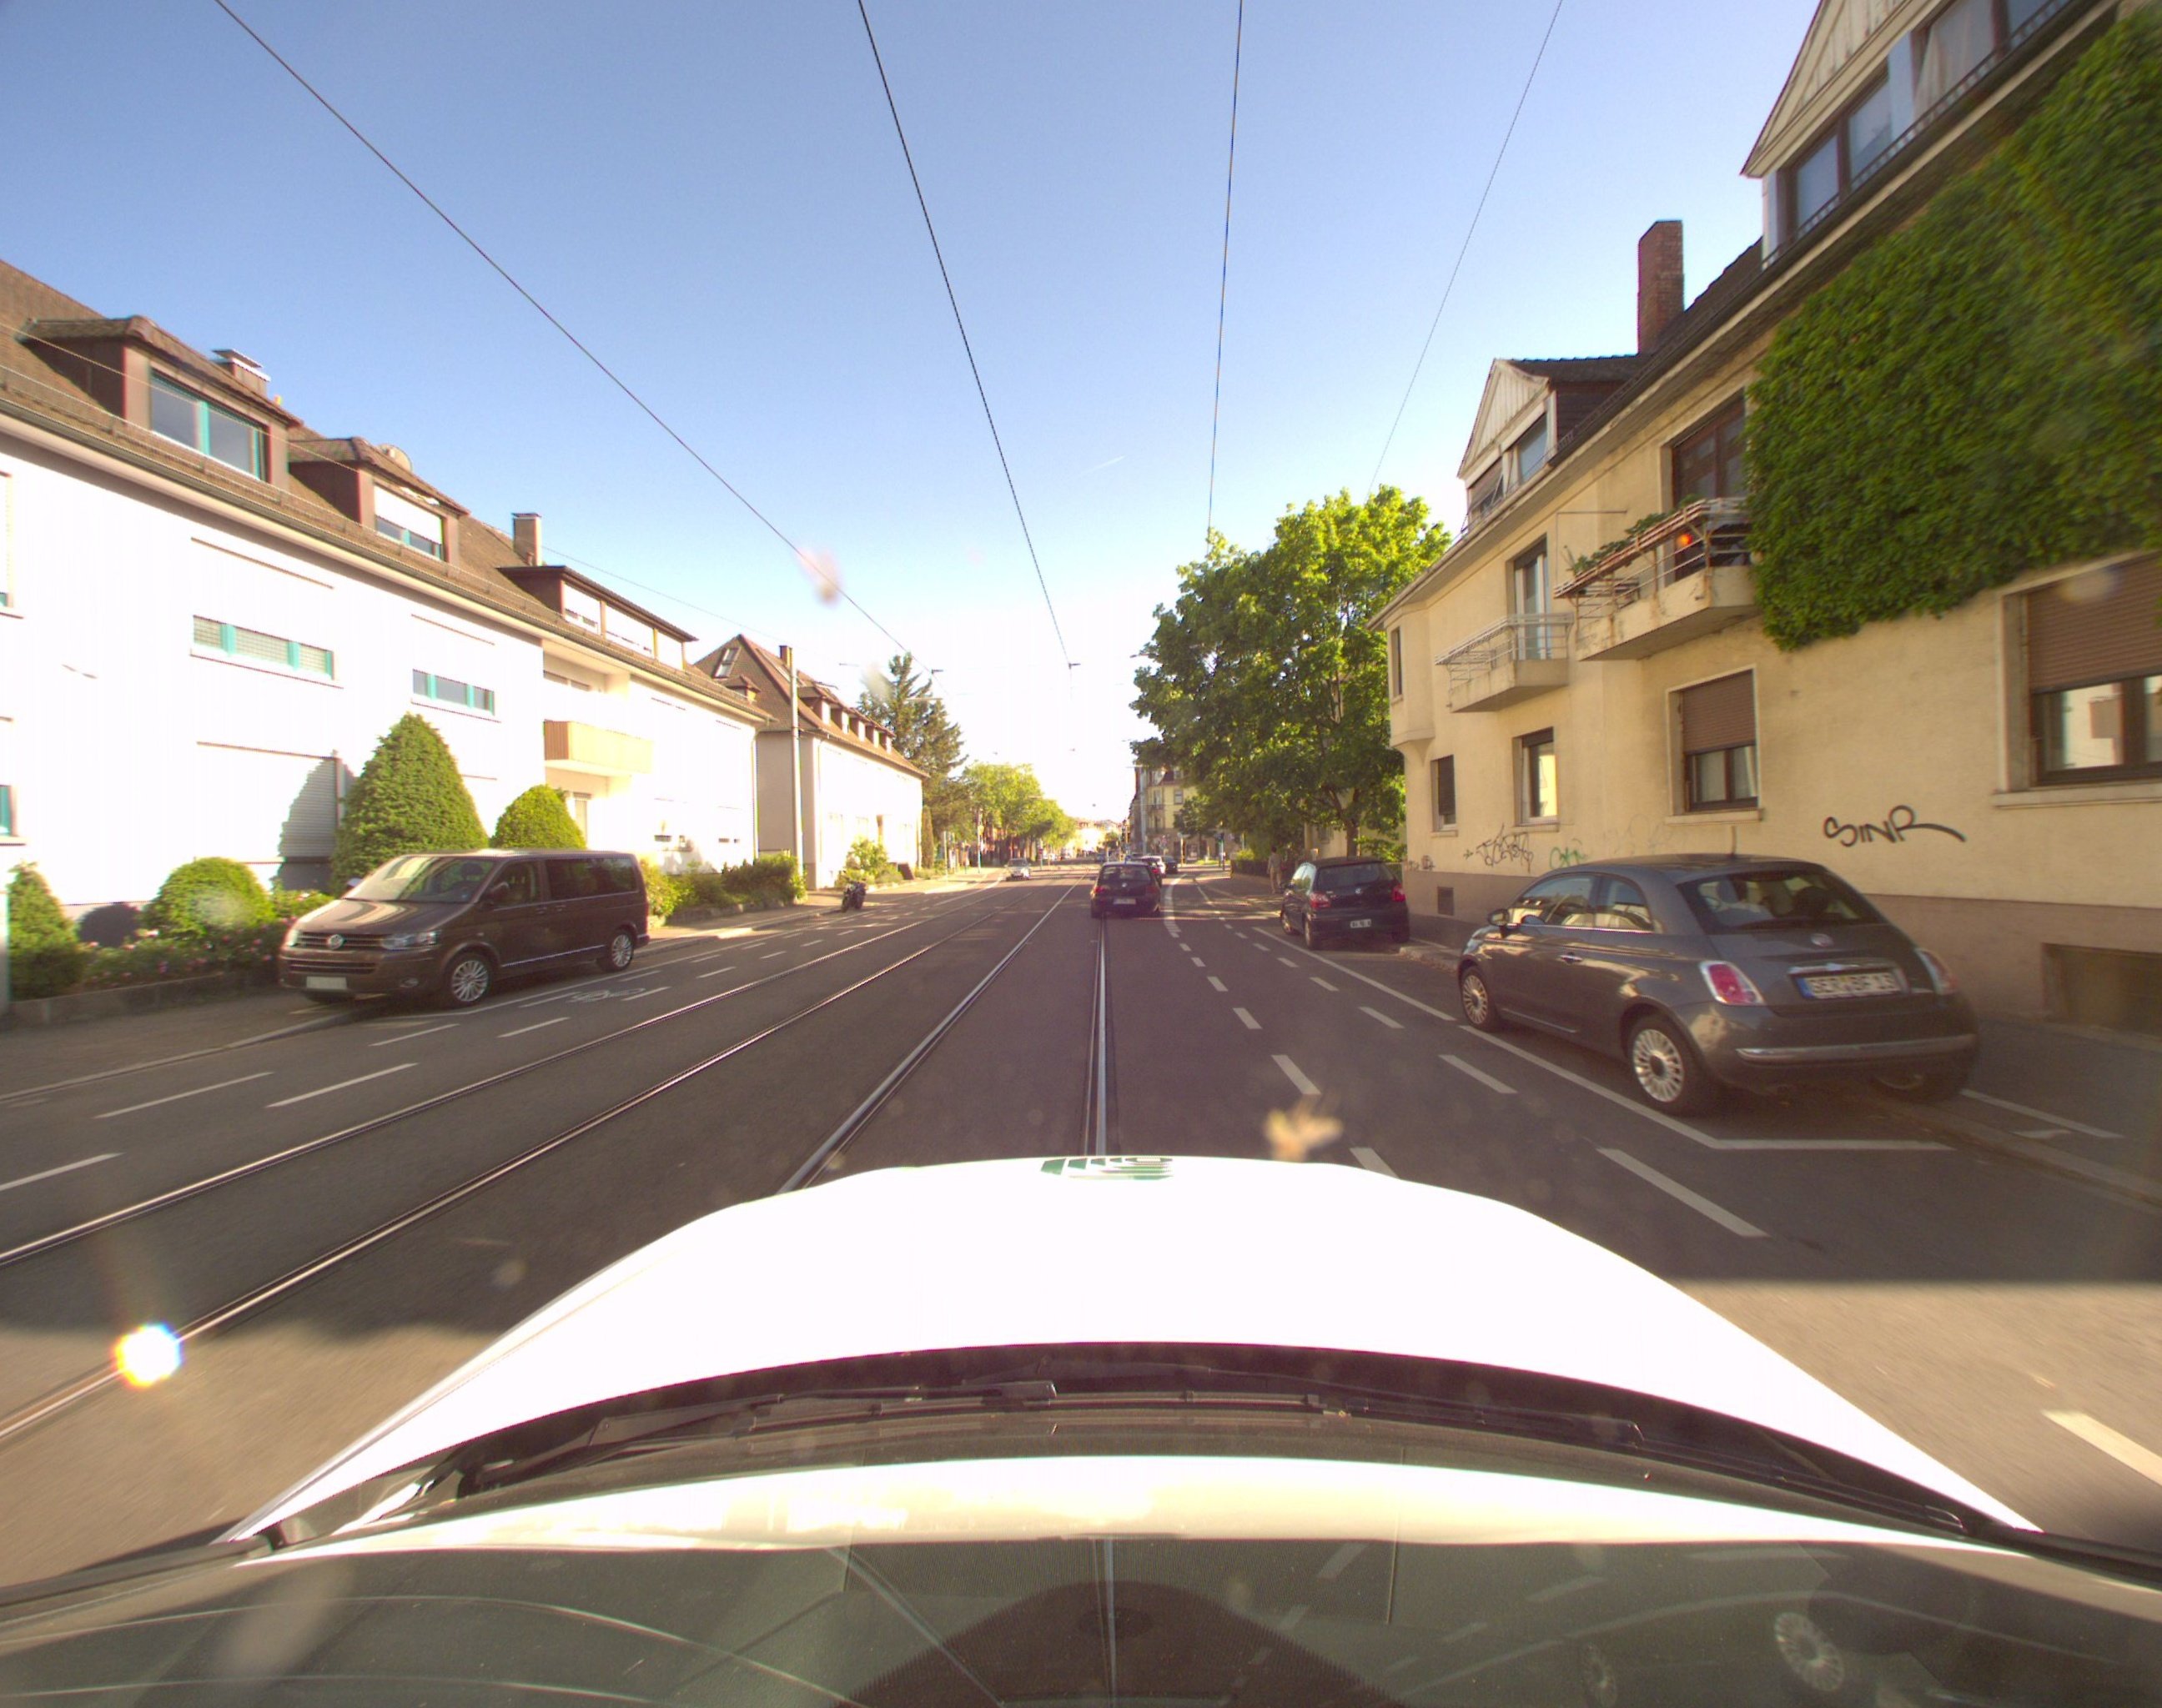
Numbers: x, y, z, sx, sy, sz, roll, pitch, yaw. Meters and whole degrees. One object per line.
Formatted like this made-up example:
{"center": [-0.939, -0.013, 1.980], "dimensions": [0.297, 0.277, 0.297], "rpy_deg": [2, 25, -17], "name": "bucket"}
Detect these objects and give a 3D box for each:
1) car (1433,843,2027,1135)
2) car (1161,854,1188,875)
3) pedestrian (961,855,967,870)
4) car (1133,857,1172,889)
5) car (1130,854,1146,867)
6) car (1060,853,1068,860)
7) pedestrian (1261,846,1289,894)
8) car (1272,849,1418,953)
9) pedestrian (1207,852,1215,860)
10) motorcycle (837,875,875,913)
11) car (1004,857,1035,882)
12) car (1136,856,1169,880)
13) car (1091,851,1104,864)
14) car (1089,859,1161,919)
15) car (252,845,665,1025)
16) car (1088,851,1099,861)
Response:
{"center": [4.178, 0.704, 6.050], "dimensions": [1.596, 1.525, 3.548], "rpy_deg": [0, 0, 0], "name": "car"}
{"center": [6.985, 0.775, 61.286], "dimensions": [1.565, 1.311, 3.646], "rpy_deg": [-2, 2, -1], "name": "car"}
{"center": [-13.340, 0.927, 92.686], "dimensions": [0.610, 1.689, 0.729], "rpy_deg": [1, 0, -17], "name": "pedestrian"}
{"center": [3.326, 0.843, 38.240], "dimensions": [1.628, 1.372, 3.759], "rpy_deg": [-2, 0, 2], "name": "car"}
{"center": [6.636, 0.729, 94.970], "dimensions": [1.675, 1.453, 3.378], "rpy_deg": [-2, 0, 0], "name": "car"}
{"center": [-4.653, 0.769, 223.006], "dimensions": [1.967, 1.815, 4.292], "rpy_deg": [-2, 0, -3], "name": "car"}
{"center": [7.034, 0.583, 29.587], "dimensions": [0.715, 1.688, 0.870], "rpy_deg": [-3, 0, 0], "name": "pedestrian"}
{"center": [4.535, 0.745, 14.531], "dimensions": [1.657, 1.564, 3.776], "rpy_deg": [-2, -1, 6], "name": "car"}
{"center": [18.788, 0.328, 117.690], "dimensions": [0.976, 1.187, 0.743], "rpy_deg": [-2, 0, 1], "name": "pedestrian"}
{"center": [-7.488, 1.315, 27.231], "dimensions": [0.534, 1.162, 2.173], "rpy_deg": [-3, 0, 2], "name": "motorcycle"}
{"center": [-3.975, 0.989, 52.924], "dimensions": [1.569, 1.477, 3.442], "rpy_deg": [-3, 0, 2], "name": "car"}
{"center": [4.625, 0.873, 52.438], "dimensions": [1.729, 1.441, 3.821], "rpy_deg": [-2, 0, 11], "name": "car"}
{"center": [2.362, 0.490, 119.908], "dimensions": [1.781, 1.860, 3.999], "rpy_deg": [1, 0, 0], "name": "car"}
{"center": [1.178, 0.844, 21.250], "dimensions": [1.708, 1.402, 4.010], "rpy_deg": [0, 0, 4], "name": "car"}
{"center": [-8.259, 0.908, 11.618], "dimensions": [1.898, 2.014, 4.952], "rpy_deg": [0, 0, 3], "name": "car"}
{"center": [2.266, 0.351, 145.453], "dimensions": [1.781, 1.860, 3.999], "rpy_deg": [-2, 0, 0], "name": "car"}
